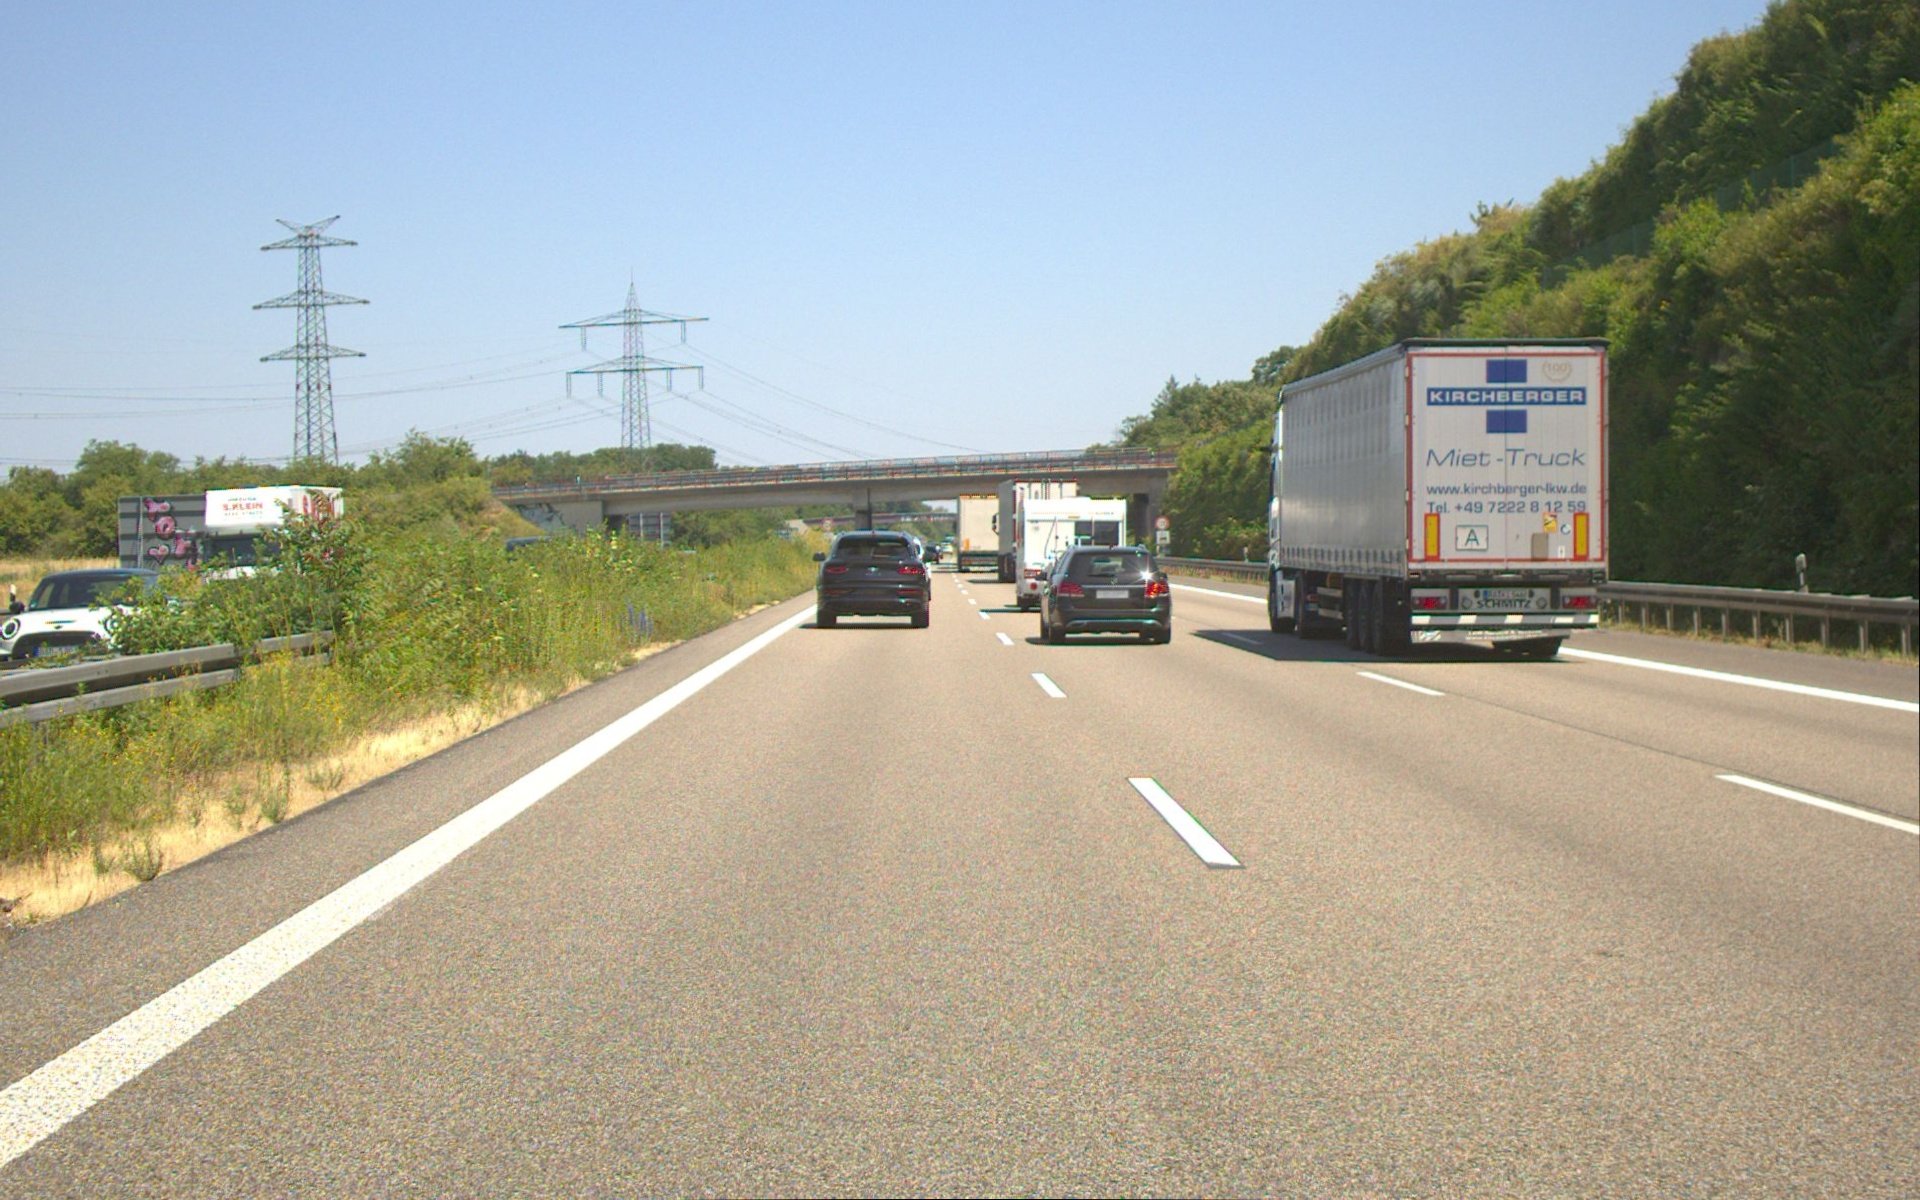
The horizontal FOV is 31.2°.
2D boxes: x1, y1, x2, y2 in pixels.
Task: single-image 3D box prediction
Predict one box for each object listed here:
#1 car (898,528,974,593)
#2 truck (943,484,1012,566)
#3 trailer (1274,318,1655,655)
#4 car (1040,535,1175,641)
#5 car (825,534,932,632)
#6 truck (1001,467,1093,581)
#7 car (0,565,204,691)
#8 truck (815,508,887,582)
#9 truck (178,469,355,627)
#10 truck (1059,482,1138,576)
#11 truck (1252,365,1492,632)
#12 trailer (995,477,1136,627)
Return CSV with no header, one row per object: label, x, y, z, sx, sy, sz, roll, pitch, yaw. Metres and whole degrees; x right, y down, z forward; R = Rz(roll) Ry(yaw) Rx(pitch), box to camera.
car,-0.654,-1.066,92.136,1.829,1.665,4.001,-1,1,-3
truck,0.906,-4.038,186.513,3.409,4.265,10.608,-1,1,-1
trailer,6.861,-1.537,49.285,3.183,4.107,13.432,-1,1,-1
car,2.216,-0.208,52.558,1.830,1.520,4.000,-1,1,0
car,-1.478,-0.332,61.919,1.830,1.665,4.000,-1,1,-1
truck,3.385,-3.005,136.809,3.119,4.265,11.934,-1,1,-1
car,-10.575,0.307,42.186,1.631,1.394,4.331,-1,1,0
truck,-6.281,-3.191,198.073,3.961,4.099,9.954,-1,1,-2
truck,-19.396,-1.485,96.790,2.873,4.162,10.569,-1,1,-1
truck,6.567,-3.385,164.059,3.119,4.265,10.168,-1,1,-1
truck,6.692,-1.647,56.597,3.135,4.127,5.504,-1,1,-1
trailer,2.345,-1.127,79.584,2.610,3.202,9.954,-1,1,-2
